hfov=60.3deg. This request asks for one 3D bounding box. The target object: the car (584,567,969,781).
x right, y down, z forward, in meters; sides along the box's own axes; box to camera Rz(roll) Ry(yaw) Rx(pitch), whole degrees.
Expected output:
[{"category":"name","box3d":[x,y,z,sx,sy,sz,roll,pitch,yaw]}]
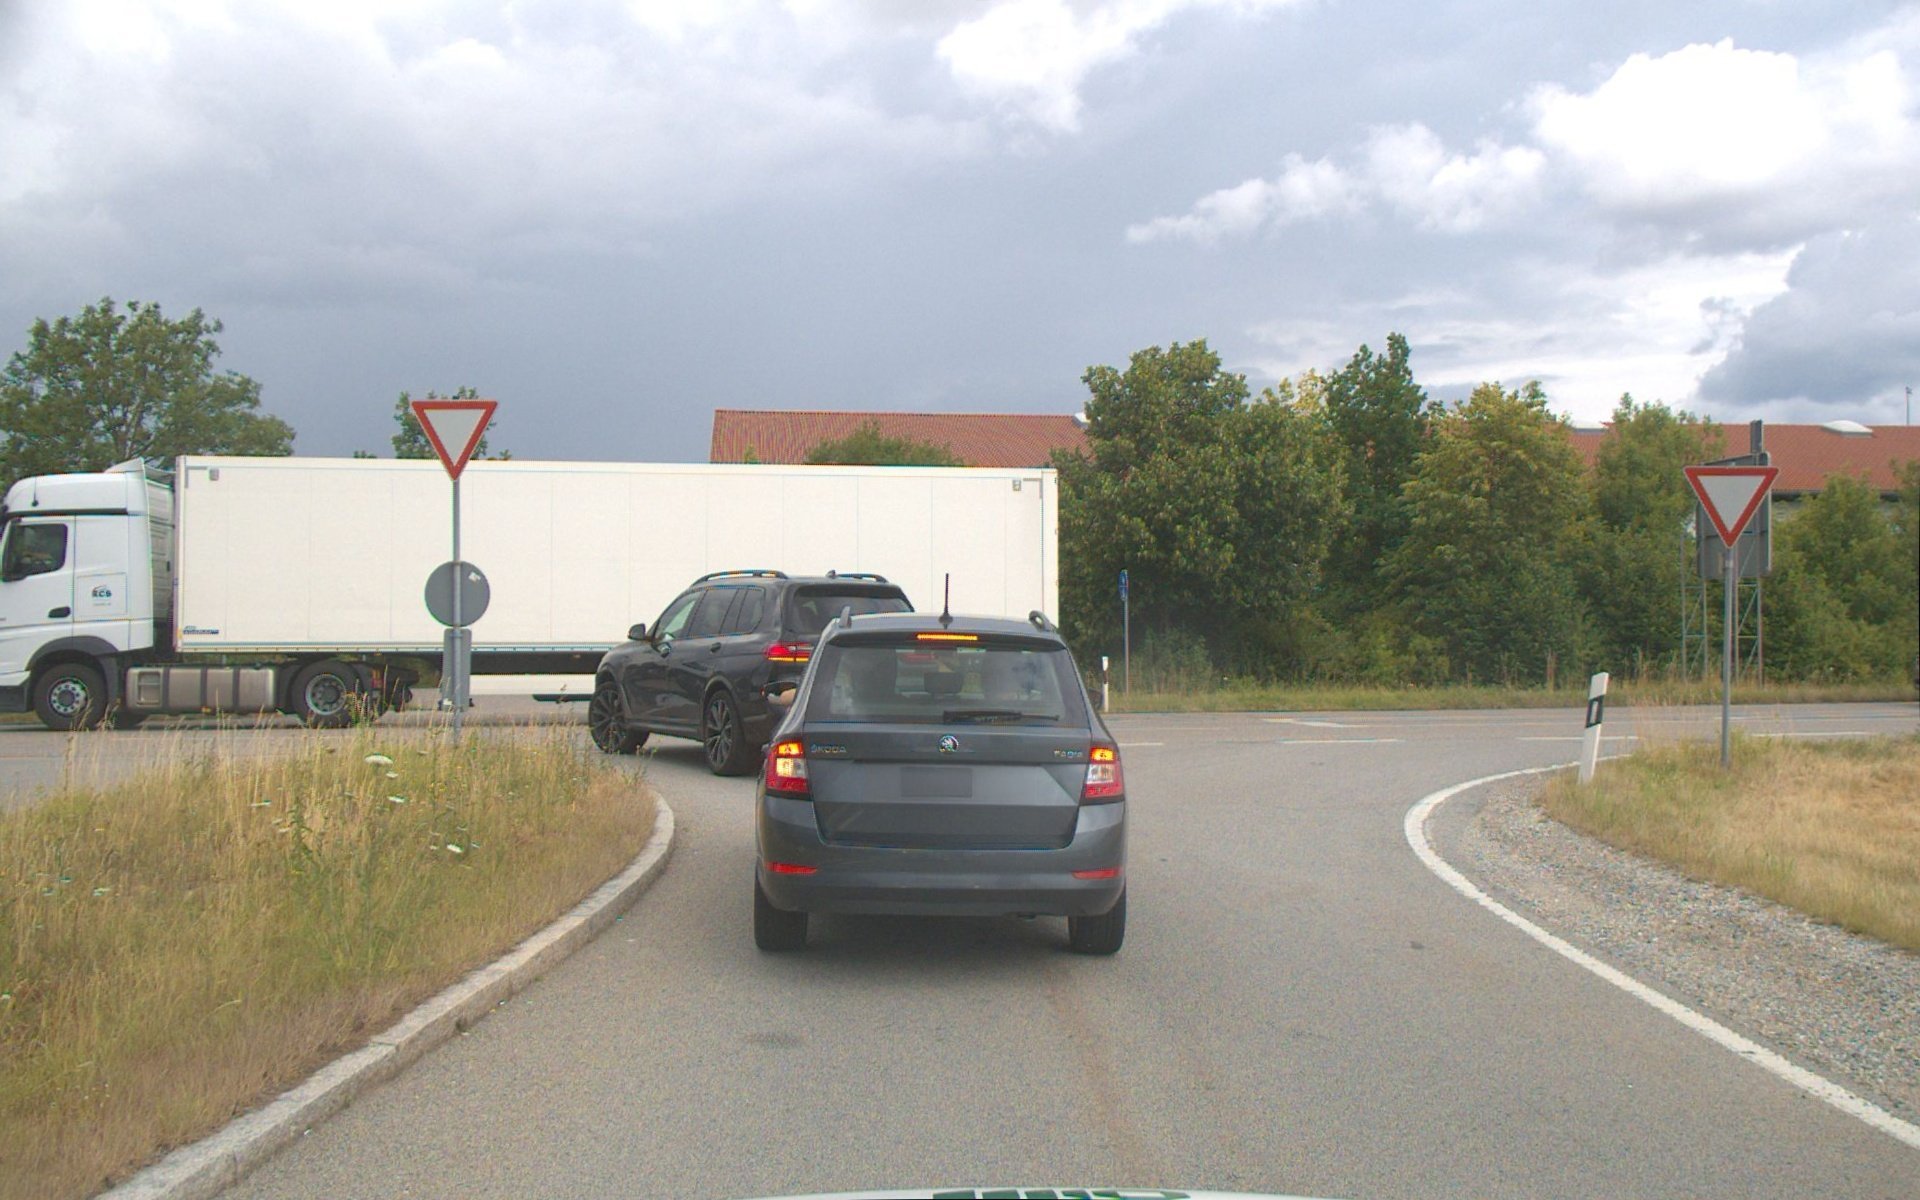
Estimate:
[{"category":"car","box3d":[-1.985,0.677,16.431,1.975,1.806,4.590,1,-2,-33]}]

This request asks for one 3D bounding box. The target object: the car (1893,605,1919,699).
[{"category":"car","box3d":[19.641,0.902,30.089,4.383,1.712,1.995,-1,-2,-11]}]

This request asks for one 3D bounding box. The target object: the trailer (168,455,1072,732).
[{"category":"trailer","box3d":[-5.157,-0.089,26.952,13.582,4.085,3.122,0,-2,-8]}]

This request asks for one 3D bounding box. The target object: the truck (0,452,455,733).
[{"category":"truck","box3d":[-11.878,-0.070,25.925,7.147,4.085,3.122,0,-2,-8]}]

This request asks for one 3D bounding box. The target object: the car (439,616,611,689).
[{"category":"car","box3d":[-13.104,1.539,49.755,4.809,2.049,2.337,-1,0,32]}]

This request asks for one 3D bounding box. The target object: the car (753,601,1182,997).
[{"category":"car","box3d":[-0.079,0.752,8.169,1.643,1.488,3.705,0,0,-4]}]
